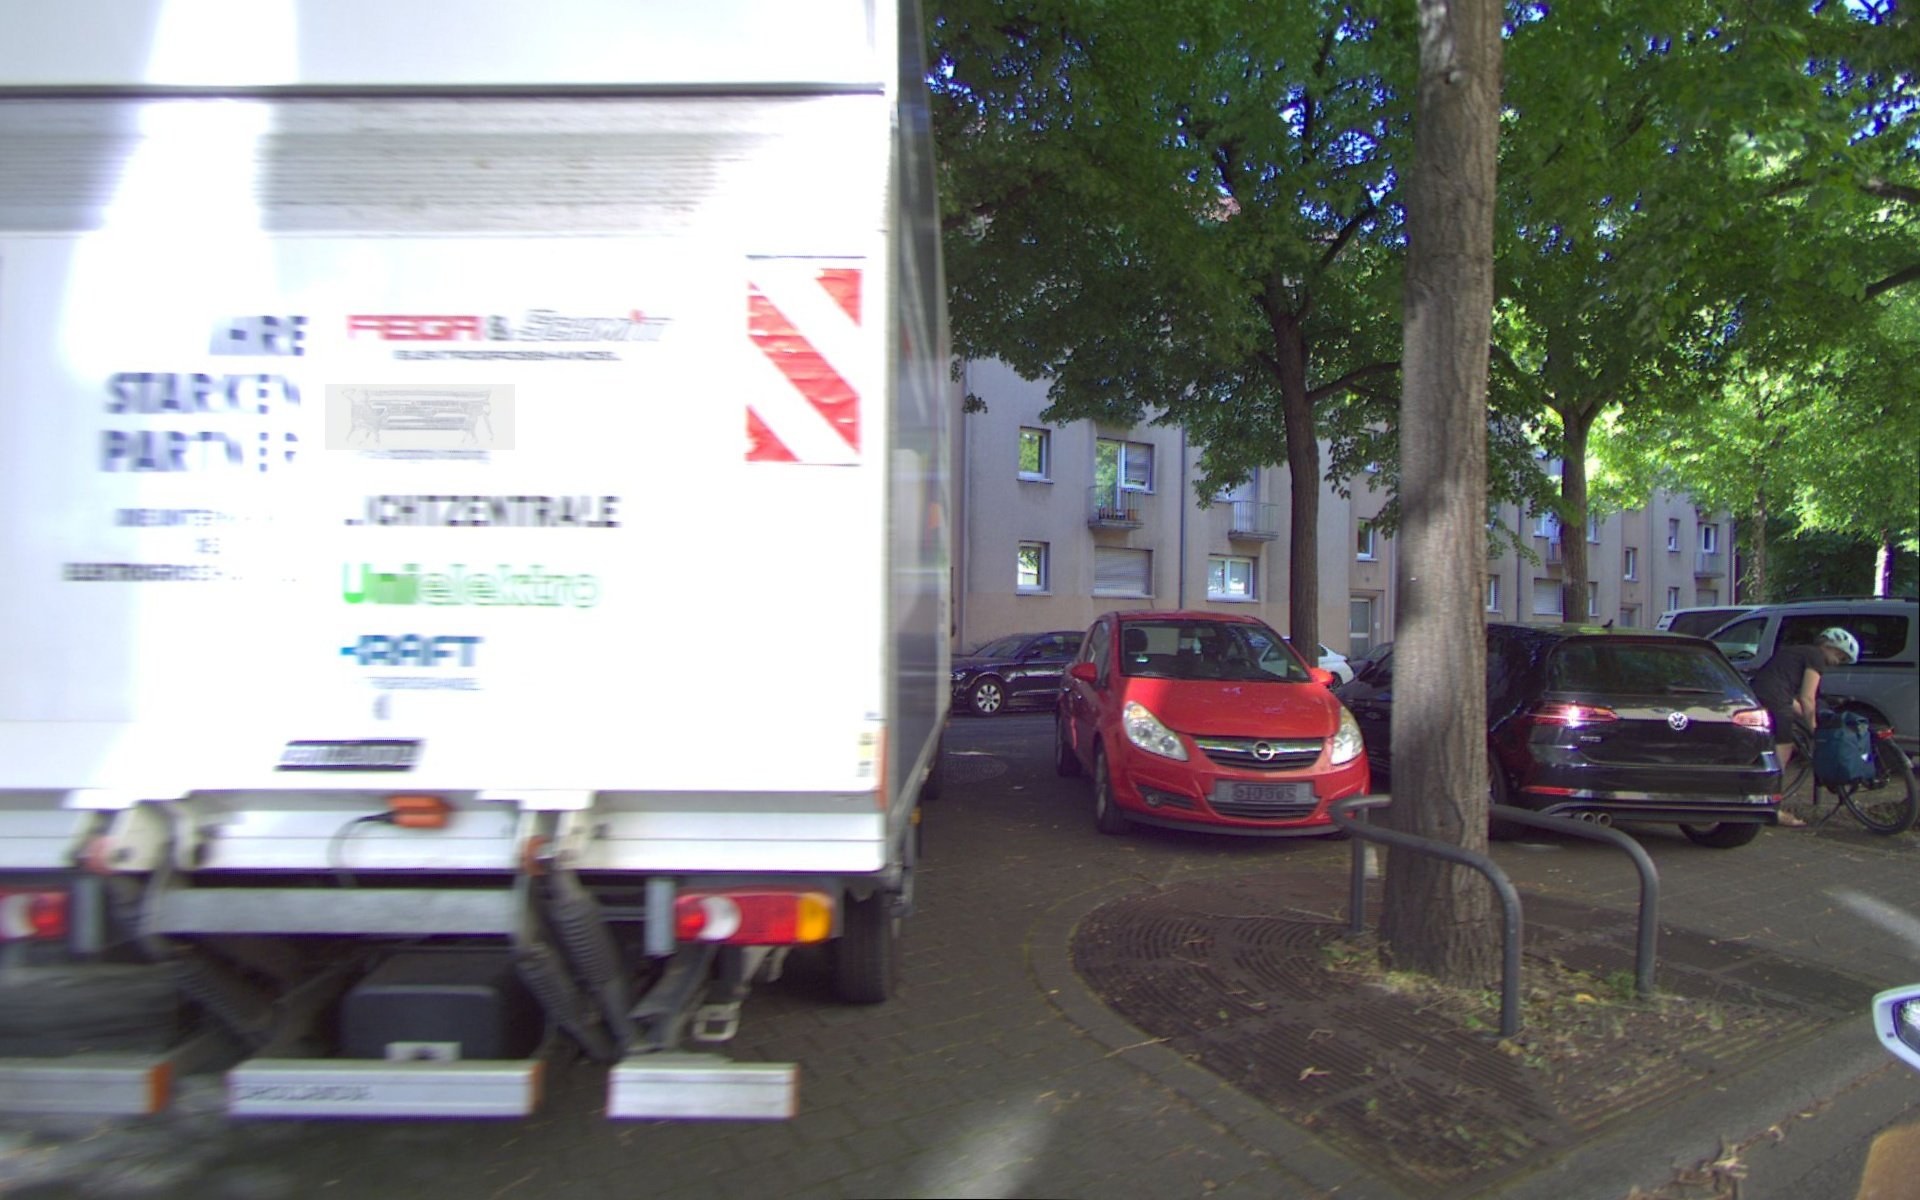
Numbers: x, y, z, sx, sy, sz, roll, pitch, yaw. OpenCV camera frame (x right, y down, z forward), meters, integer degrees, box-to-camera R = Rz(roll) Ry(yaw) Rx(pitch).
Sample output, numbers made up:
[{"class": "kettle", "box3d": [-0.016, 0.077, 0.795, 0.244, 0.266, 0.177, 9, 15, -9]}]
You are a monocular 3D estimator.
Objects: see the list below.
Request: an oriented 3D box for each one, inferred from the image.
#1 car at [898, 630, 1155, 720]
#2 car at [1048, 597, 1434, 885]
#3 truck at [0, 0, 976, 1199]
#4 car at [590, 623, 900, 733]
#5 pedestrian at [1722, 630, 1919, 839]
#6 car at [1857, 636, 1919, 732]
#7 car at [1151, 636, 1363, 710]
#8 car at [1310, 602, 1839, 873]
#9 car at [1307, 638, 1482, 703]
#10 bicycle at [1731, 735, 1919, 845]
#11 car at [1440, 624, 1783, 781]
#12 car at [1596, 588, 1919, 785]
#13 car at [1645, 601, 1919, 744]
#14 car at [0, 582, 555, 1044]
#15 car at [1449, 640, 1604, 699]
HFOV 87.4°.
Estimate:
[{"class": "car", "box3d": [1.246, 1.277, 17.912, 4.484, 1.424, 1.610, 2, -2, -32]}, {"class": "car", "box3d": [1.703, 0.796, 7.465, 1.812, 1.522, 4.001, 1, -1, 1]}, {"class": "truck", "box3d": [-1.200, -0.192, 5.473, 2.496, 3.337, 7.328, 0, -2, 1]}, {"class": "car", "box3d": [-3.173, 1.115, 15.257, 4.303, 1.453, 1.751, 2, -3, -37]}, {"class": "pedestrian", "box3d": [6.235, 0.928, 7.243, 0.910, 1.415, 0.753, 1, -1, 1]}, {"class": "car", "box3d": [15.777, 1.298, 14.507, 1.752, 1.474, 4.491, 1, -1, 2]}, {"class": "car", "box3d": [6.279, 1.474, 21.053, 4.566, 1.411, 1.718, 2, -3, -32]}, {"class": "car", "box3d": [4.280, 0.830, 7.884, 1.699, 1.526, 4.109, 1, -1, 1]}, {"class": "car", "box3d": [10.306, 1.621, 23.791, 3.954, 1.405, 1.883, 2, -2, -31]}, {"class": "bicycle", "box3d": [6.673, 1.404, 7.639, 0.401, 0.566, 1.615, 1, -1, 1]}, {"class": "car", "box3d": [7.080, 1.009, 11.423, 1.591, 1.425, 3.804, 1, -1, 3]}, {"class": "car", "box3d": [10.067, 0.883, 11.827, 2.041, 1.889, 4.521, 1, -1, -5]}, {"class": "car", "box3d": [13.122, 1.048, 15.447, 1.979, 1.856, 4.606, 1, -2, -1]}, {"class": "car", "box3d": [-3.939, 0.729, 5.058, 1.777, 1.527, 4.346, 1, -1, 4]}, {"class": "car", "box3d": [14.967, 1.791, 26.503, 3.954, 1.405, 1.883, 2, -1, -31]}]
